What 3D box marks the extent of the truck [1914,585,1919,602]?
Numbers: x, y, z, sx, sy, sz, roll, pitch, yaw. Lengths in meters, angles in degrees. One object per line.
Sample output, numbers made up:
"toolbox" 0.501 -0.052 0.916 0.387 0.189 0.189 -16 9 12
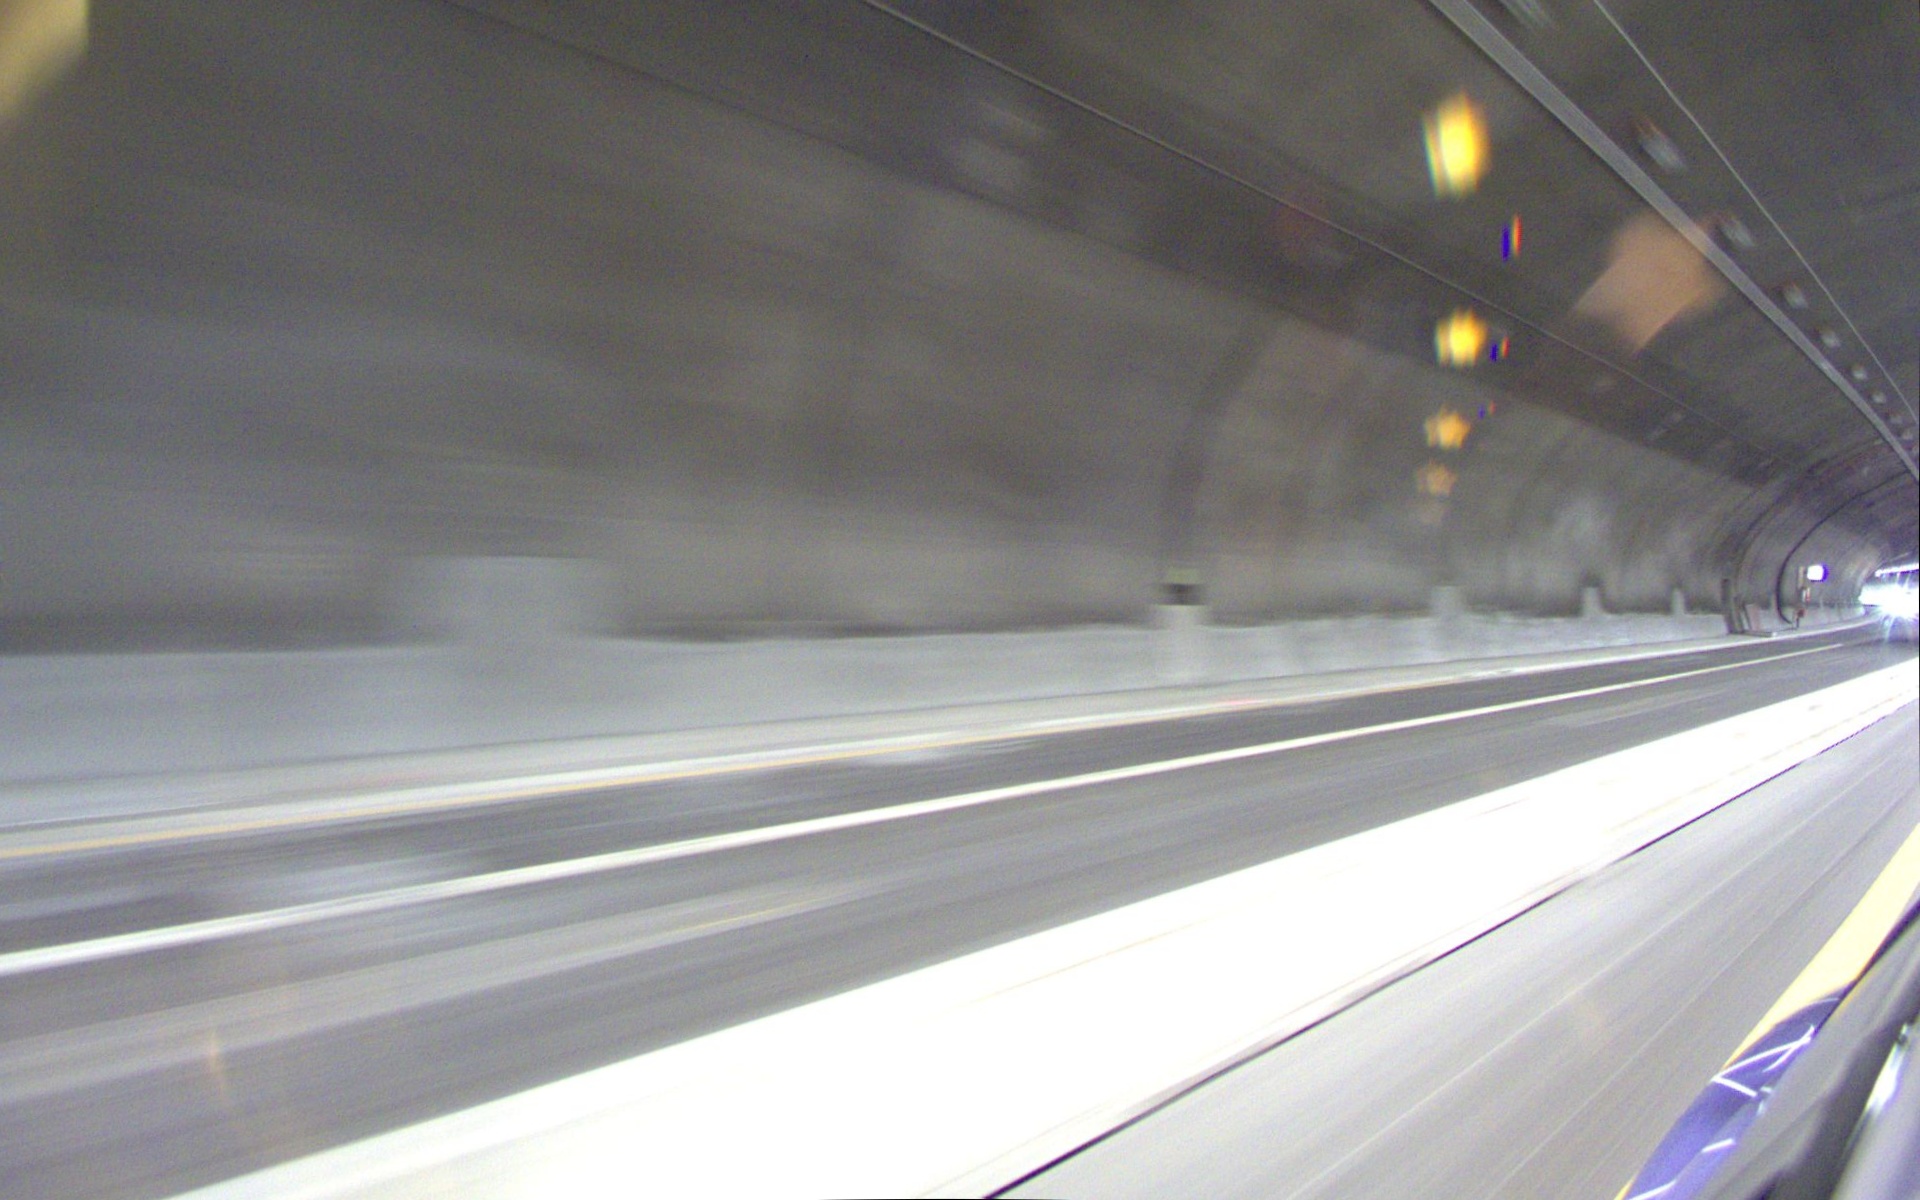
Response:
"truck" 160.721 -1.072 168.349 2.599 2.774 6.306 0 0 40
